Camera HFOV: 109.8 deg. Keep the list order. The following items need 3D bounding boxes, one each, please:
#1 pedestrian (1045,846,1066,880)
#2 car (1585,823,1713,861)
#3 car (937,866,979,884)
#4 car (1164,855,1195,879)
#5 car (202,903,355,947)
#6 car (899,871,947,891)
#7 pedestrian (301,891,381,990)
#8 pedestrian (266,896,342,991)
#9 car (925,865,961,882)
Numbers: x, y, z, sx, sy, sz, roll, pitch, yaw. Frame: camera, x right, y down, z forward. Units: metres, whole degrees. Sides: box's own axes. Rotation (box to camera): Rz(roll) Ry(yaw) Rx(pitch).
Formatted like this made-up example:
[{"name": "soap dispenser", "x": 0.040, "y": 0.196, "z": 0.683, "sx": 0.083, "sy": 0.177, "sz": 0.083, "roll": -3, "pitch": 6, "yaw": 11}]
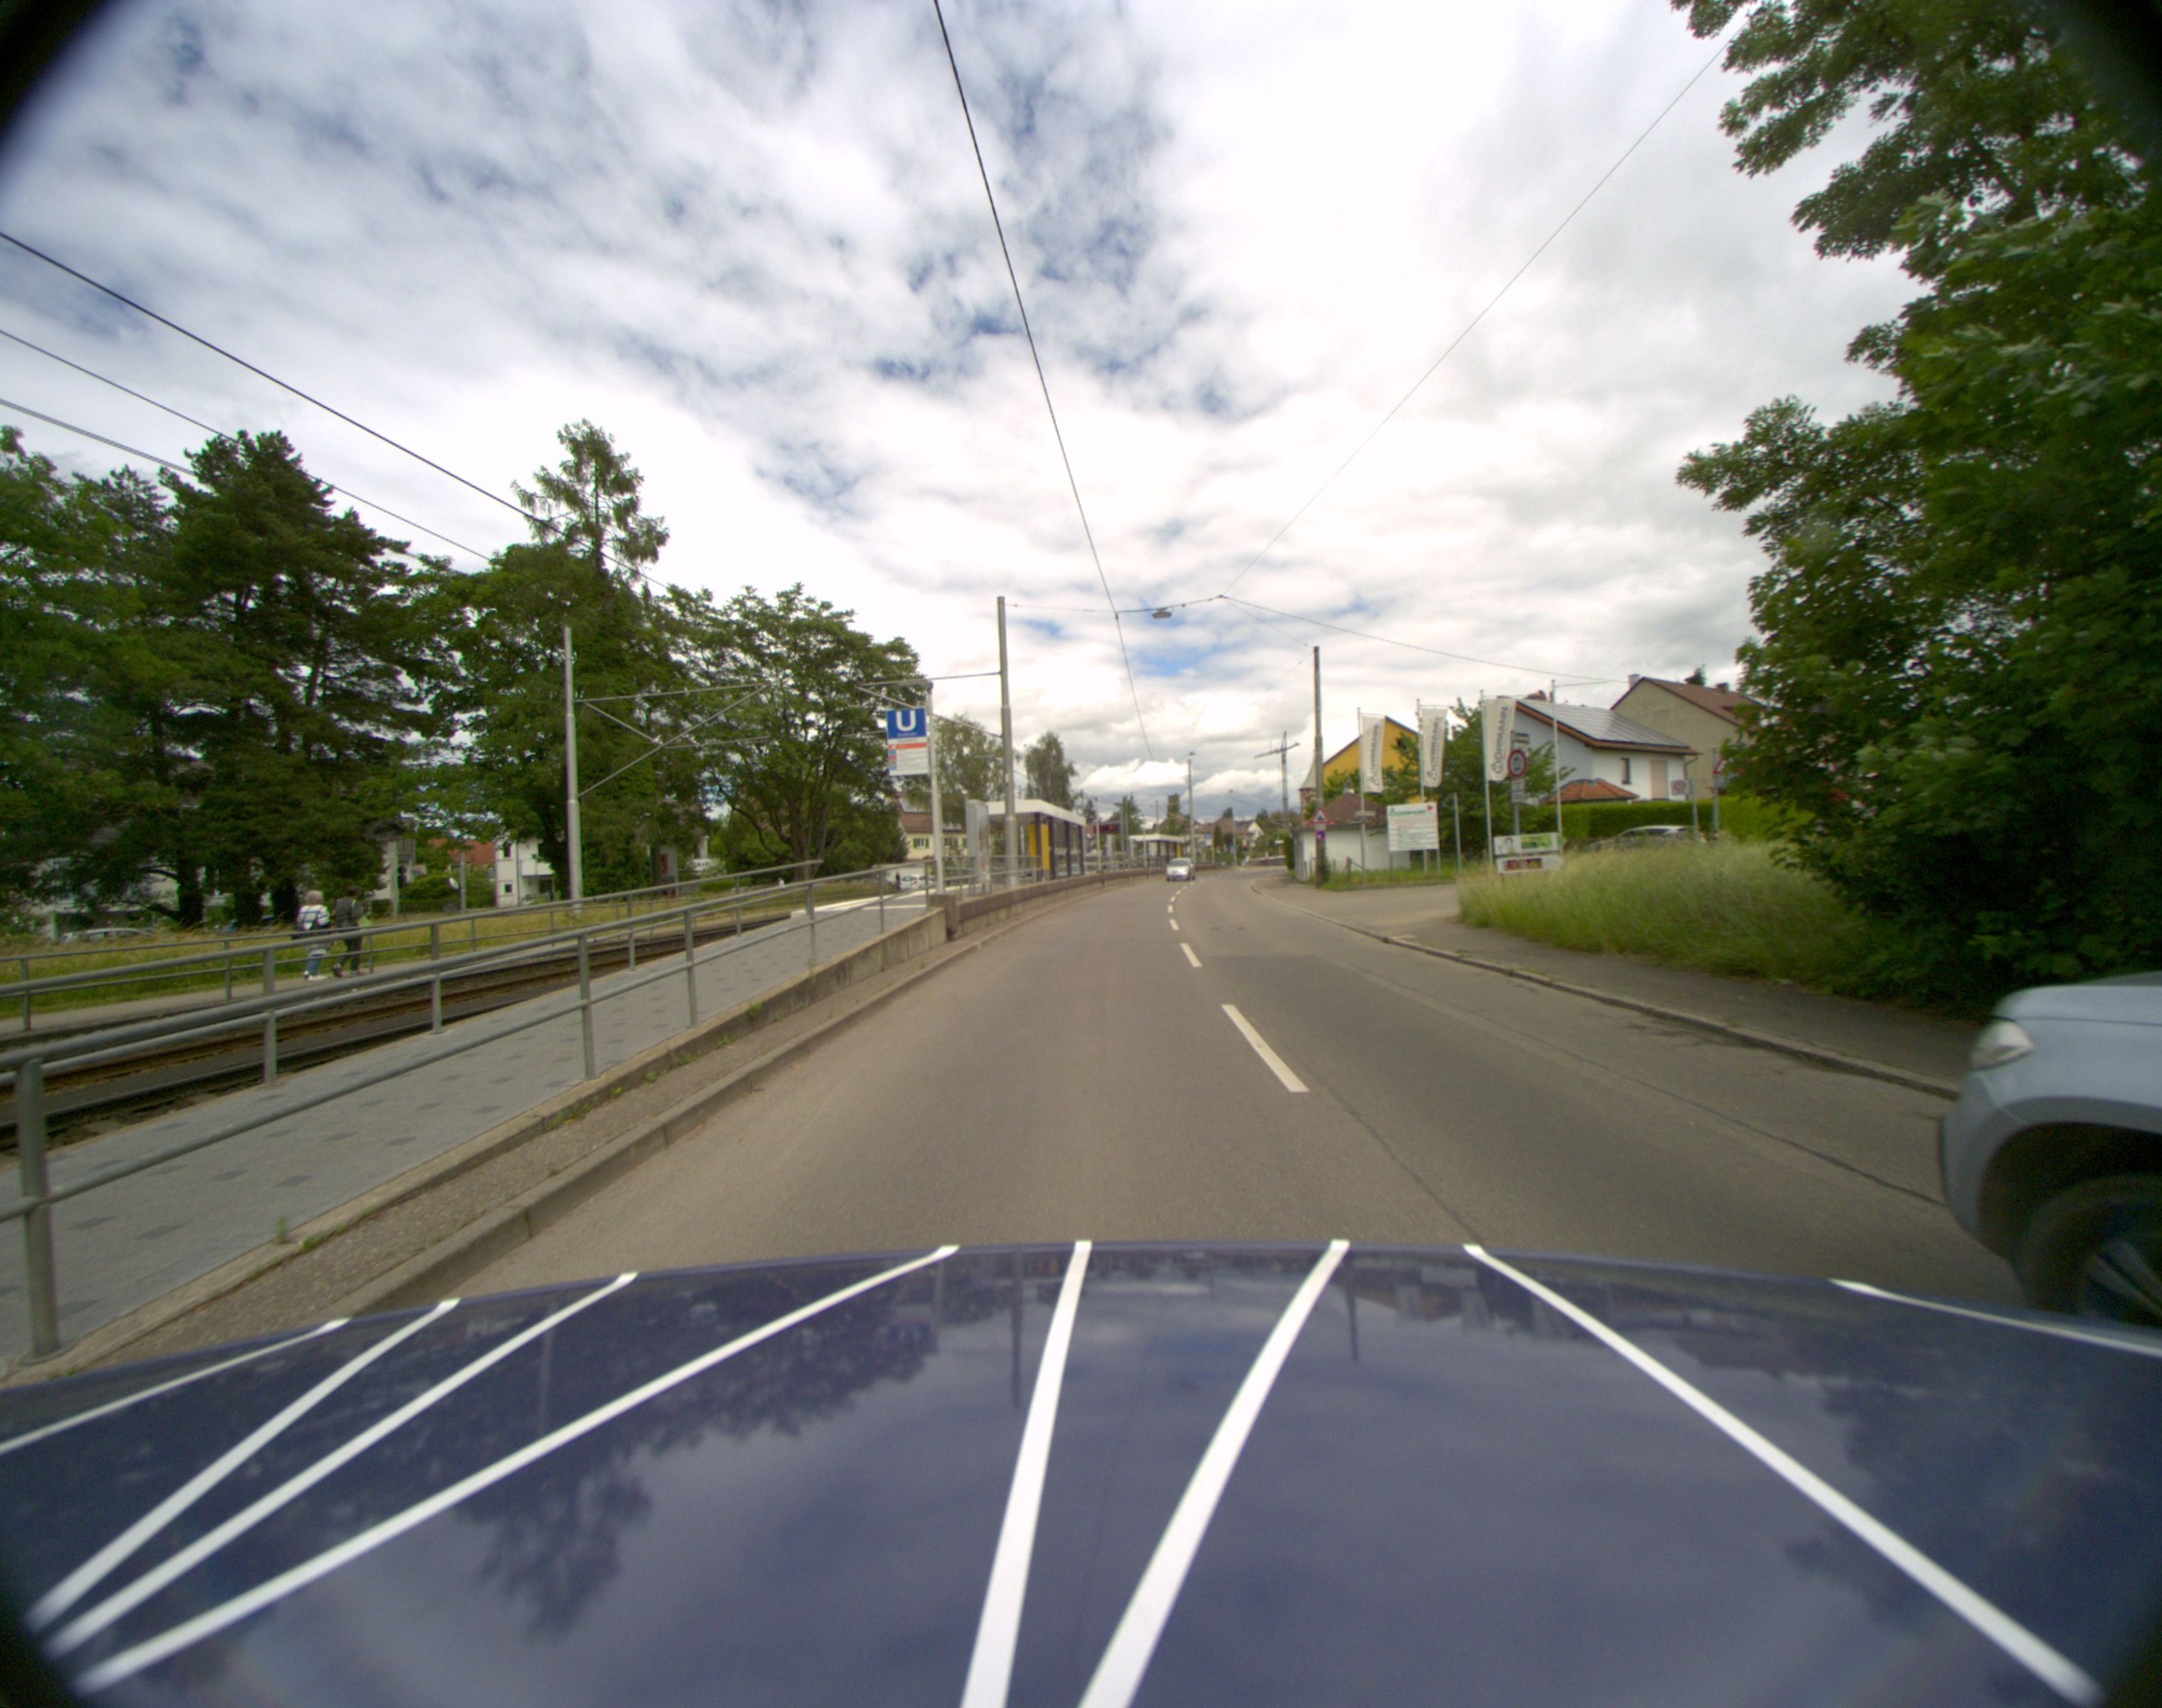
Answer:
[{"name": "pedestrian", "x": -1.025, "y": 0.357, "z": 30.680, "sx": 0.654, "sy": 1.304, "sz": 0.692, "roll": -2, "pitch": 0, "yaw": 9}, {"name": "car", "x": 24.827, "y": -0.491, "z": 33.358, "sx": 2.002, "sy": 1.525, "sz": 3.992, "roll": -3, "pitch": 1, "yaw": -24}, {"name": "car", "x": -10.301, "y": 1.757, "z": 63.997, "sx": 1.996, "sy": 1.340, "sz": 4.004, "roll": -3, "pitch": 0, "yaw": 14}, {"name": "car", "x": 7.163, "y": 0.910, "z": 55.003, "sx": 1.732, "sy": 1.639, "sz": 4.230, "roll": -3, "pitch": 0, "yaw": 13}, {"name": "car", "x": -33.780, "y": 2.954, "z": 32.123, "sx": 1.792, "sy": 1.431, "sz": 4.006, "roll": -3, "pitch": 0, "yaw": 21}, {"name": "car", "x": -12.233, "y": 2.077, "z": 59.029, "sx": 1.996, "sy": 1.340, "sz": 4.004, "roll": -3, "pitch": 0, "yaw": 14}, {"name": "pedestrian", "x": -12.871, "y": 1.476, "z": 13.237, "sx": 0.493, "sy": 1.613, "sz": 0.790, "roll": -3, "pitch": 0, "yaw": 3}, {"name": "pedestrian", "x": -13.515, "y": 1.546, "z": 13.233, "sx": 0.493, "sy": 1.552, "sz": 0.692, "roll": -3, "pitch": 0, "yaw": 3}, {"name": "car", "x": -16.654, "y": 2.327, "z": 91.742, "sx": 1.995, "sy": 1.851, "sz": 4.243, "roll": -3, "pitch": 0, "yaw": 28}]
